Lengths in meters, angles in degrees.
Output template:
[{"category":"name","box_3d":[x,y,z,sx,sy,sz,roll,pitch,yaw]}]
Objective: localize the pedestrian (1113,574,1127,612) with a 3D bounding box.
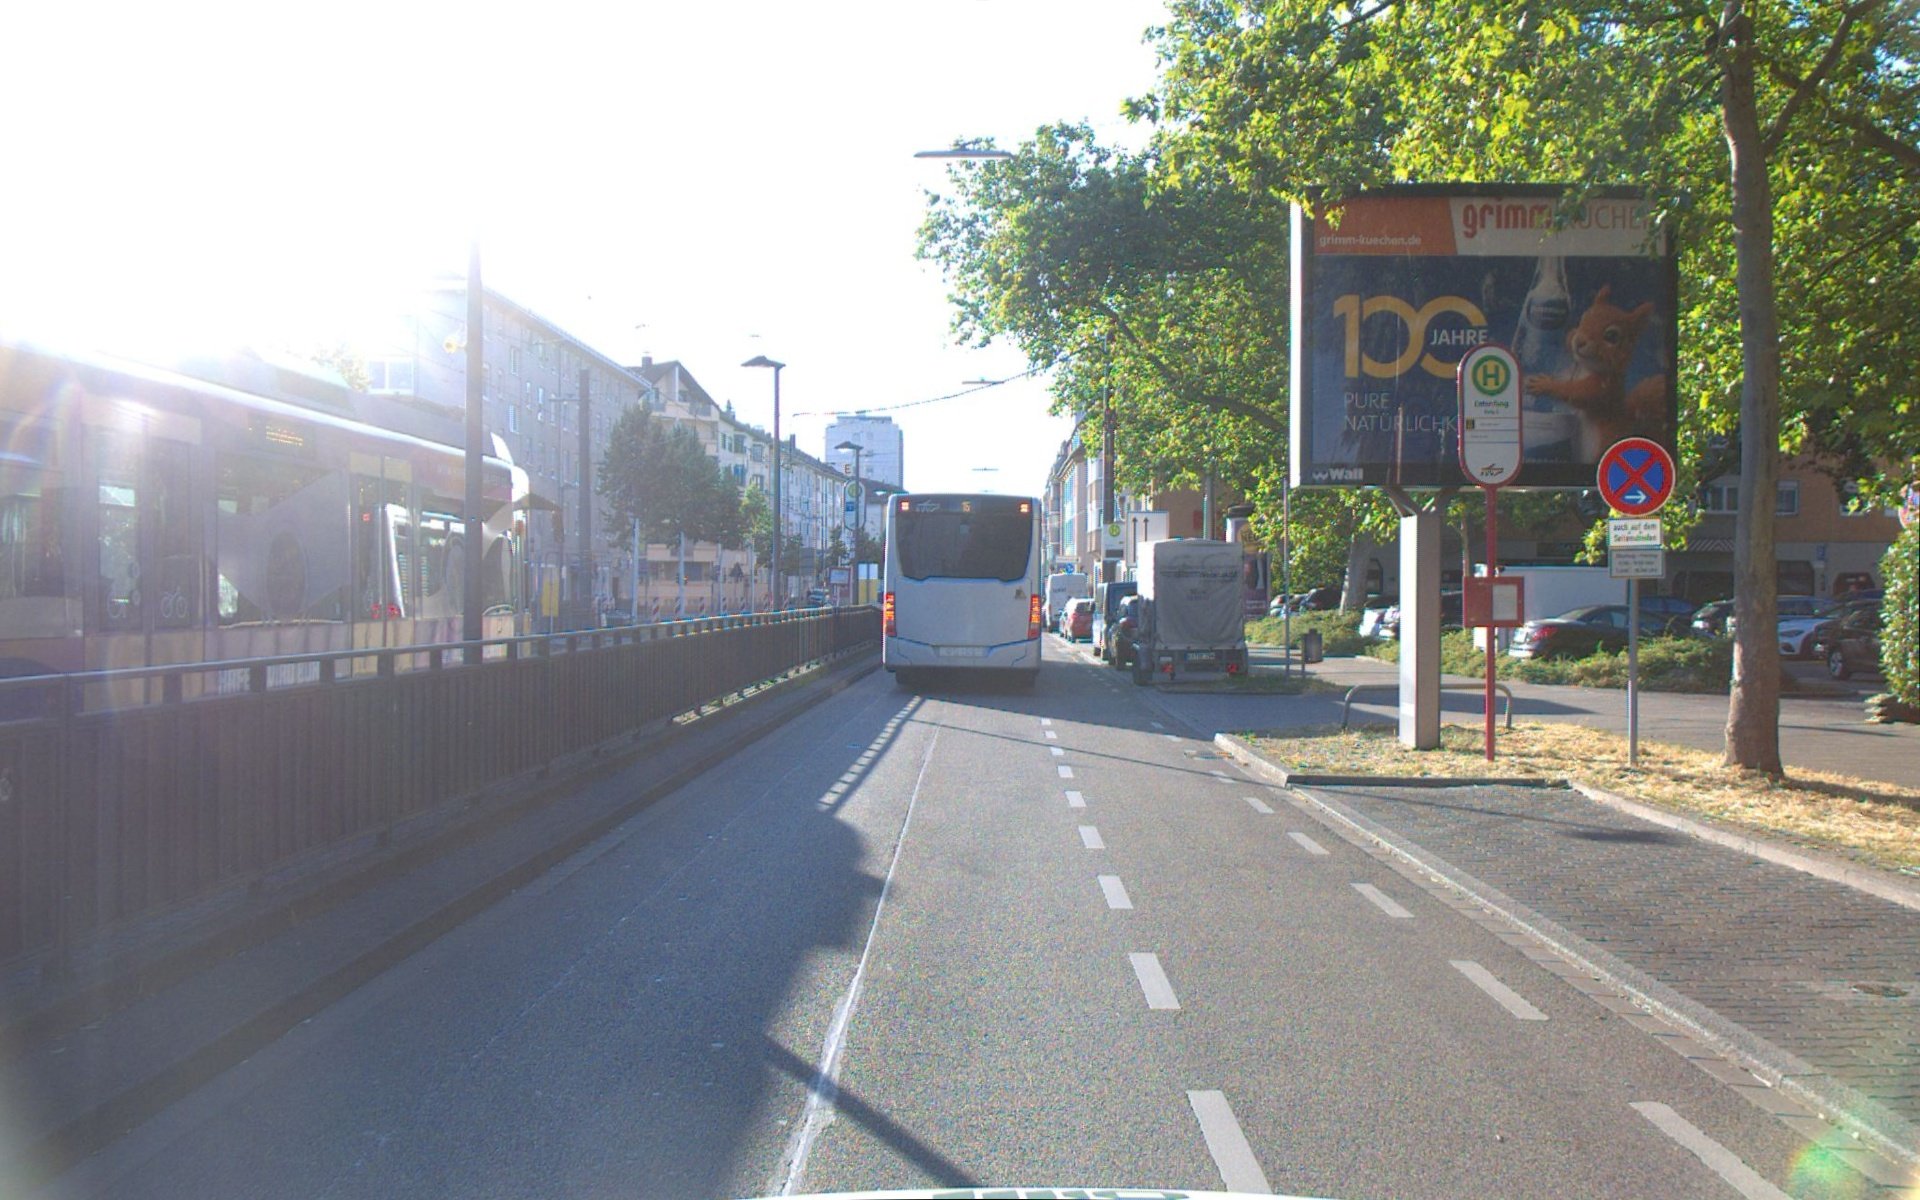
[{"category":"pedestrian","box_3d":[8.557,-0.375,88.534,0.671,1.981,1.116,0,0,1]}]

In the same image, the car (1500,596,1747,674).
[{"category":"car","box_3d":[12.021,0.618,30.138,3.839,1.359,1.707,0,0,2]}]

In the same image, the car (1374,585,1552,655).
[{"category":"car","box_3d":[12.259,0.479,40.465,3.839,1.666,1.706,0,0,1]}]

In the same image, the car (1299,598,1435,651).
[{"category":"car","box_3d":[12.722,0.763,51.851,3.839,1.616,1.706,0,0,1]}]

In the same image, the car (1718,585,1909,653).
[{"category":"car","box_3d":[23.114,0.515,44.906,4.189,1.671,1.872,-2,0,1]}]

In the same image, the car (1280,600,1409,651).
[{"category":"car","box_3d":[12.570,0.827,54.193,3.839,1.616,1.706,0,0,1]}]

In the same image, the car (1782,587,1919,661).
[{"category":"car","box_3d":[22.544,0.547,40.159,4.189,1.671,1.872,-2,0,1]}]

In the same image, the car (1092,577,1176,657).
[{"category":"car","box_3d":[4.489,0.427,43.297,1.809,1.991,4.544,0,0,1]}]

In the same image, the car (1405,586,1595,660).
[{"category":"car","box_3d":[12.384,0.519,38.100,3.839,1.665,1.706,0,0,1]}]

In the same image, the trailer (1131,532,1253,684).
[{"category":"trailer","box_3d":[4.170,0.133,30.152,1.795,2.602,3.319,0,0,1]}]

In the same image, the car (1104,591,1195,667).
[{"category":"car","box_3d":[4.217,0.632,37.274,1.665,1.616,3.828,0,0,1]}]

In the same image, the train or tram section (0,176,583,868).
[{"category":"train or tram section","box_3d":[-6.155,-0.421,14.101,2.586,3.580,13.335,0,0,1]}]

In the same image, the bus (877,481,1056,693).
[{"category":"bus","box_3d":[0.231,-0.207,30.675,2.677,3.194,10.705,1,0,1]}]

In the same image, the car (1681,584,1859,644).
[{"category":"car","box_3d":[23.110,0.395,47.302,4.189,1.671,1.873,0,0,1]}]

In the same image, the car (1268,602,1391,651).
[{"category":"car","box_3d":[12.621,0.895,56.626,3.839,1.616,1.706,0,0,1]}]

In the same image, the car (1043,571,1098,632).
[{"category":"car","box_3d":[4.988,0.078,75.215,2.235,2.673,5.310,0,0,1]}]

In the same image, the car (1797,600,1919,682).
[{"category":"car","box_3d":[18.215,0.752,32.224,1.753,1.462,4.240,0,0,2]}]

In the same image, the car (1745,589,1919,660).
[{"category":"car","box_3d":[22.726,0.610,42.501,4.189,1.671,1.872,-2,0,1]}]

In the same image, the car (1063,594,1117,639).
[{"category":"car","box_3d":[4.623,0.586,59.292,1.637,1.488,3.934,-2,0,1]}]

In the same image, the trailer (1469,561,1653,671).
[{"category":"trailer","box_3d":[11.874,0.299,32.829,3.000,2.106,1.879,0,0,2]}]
